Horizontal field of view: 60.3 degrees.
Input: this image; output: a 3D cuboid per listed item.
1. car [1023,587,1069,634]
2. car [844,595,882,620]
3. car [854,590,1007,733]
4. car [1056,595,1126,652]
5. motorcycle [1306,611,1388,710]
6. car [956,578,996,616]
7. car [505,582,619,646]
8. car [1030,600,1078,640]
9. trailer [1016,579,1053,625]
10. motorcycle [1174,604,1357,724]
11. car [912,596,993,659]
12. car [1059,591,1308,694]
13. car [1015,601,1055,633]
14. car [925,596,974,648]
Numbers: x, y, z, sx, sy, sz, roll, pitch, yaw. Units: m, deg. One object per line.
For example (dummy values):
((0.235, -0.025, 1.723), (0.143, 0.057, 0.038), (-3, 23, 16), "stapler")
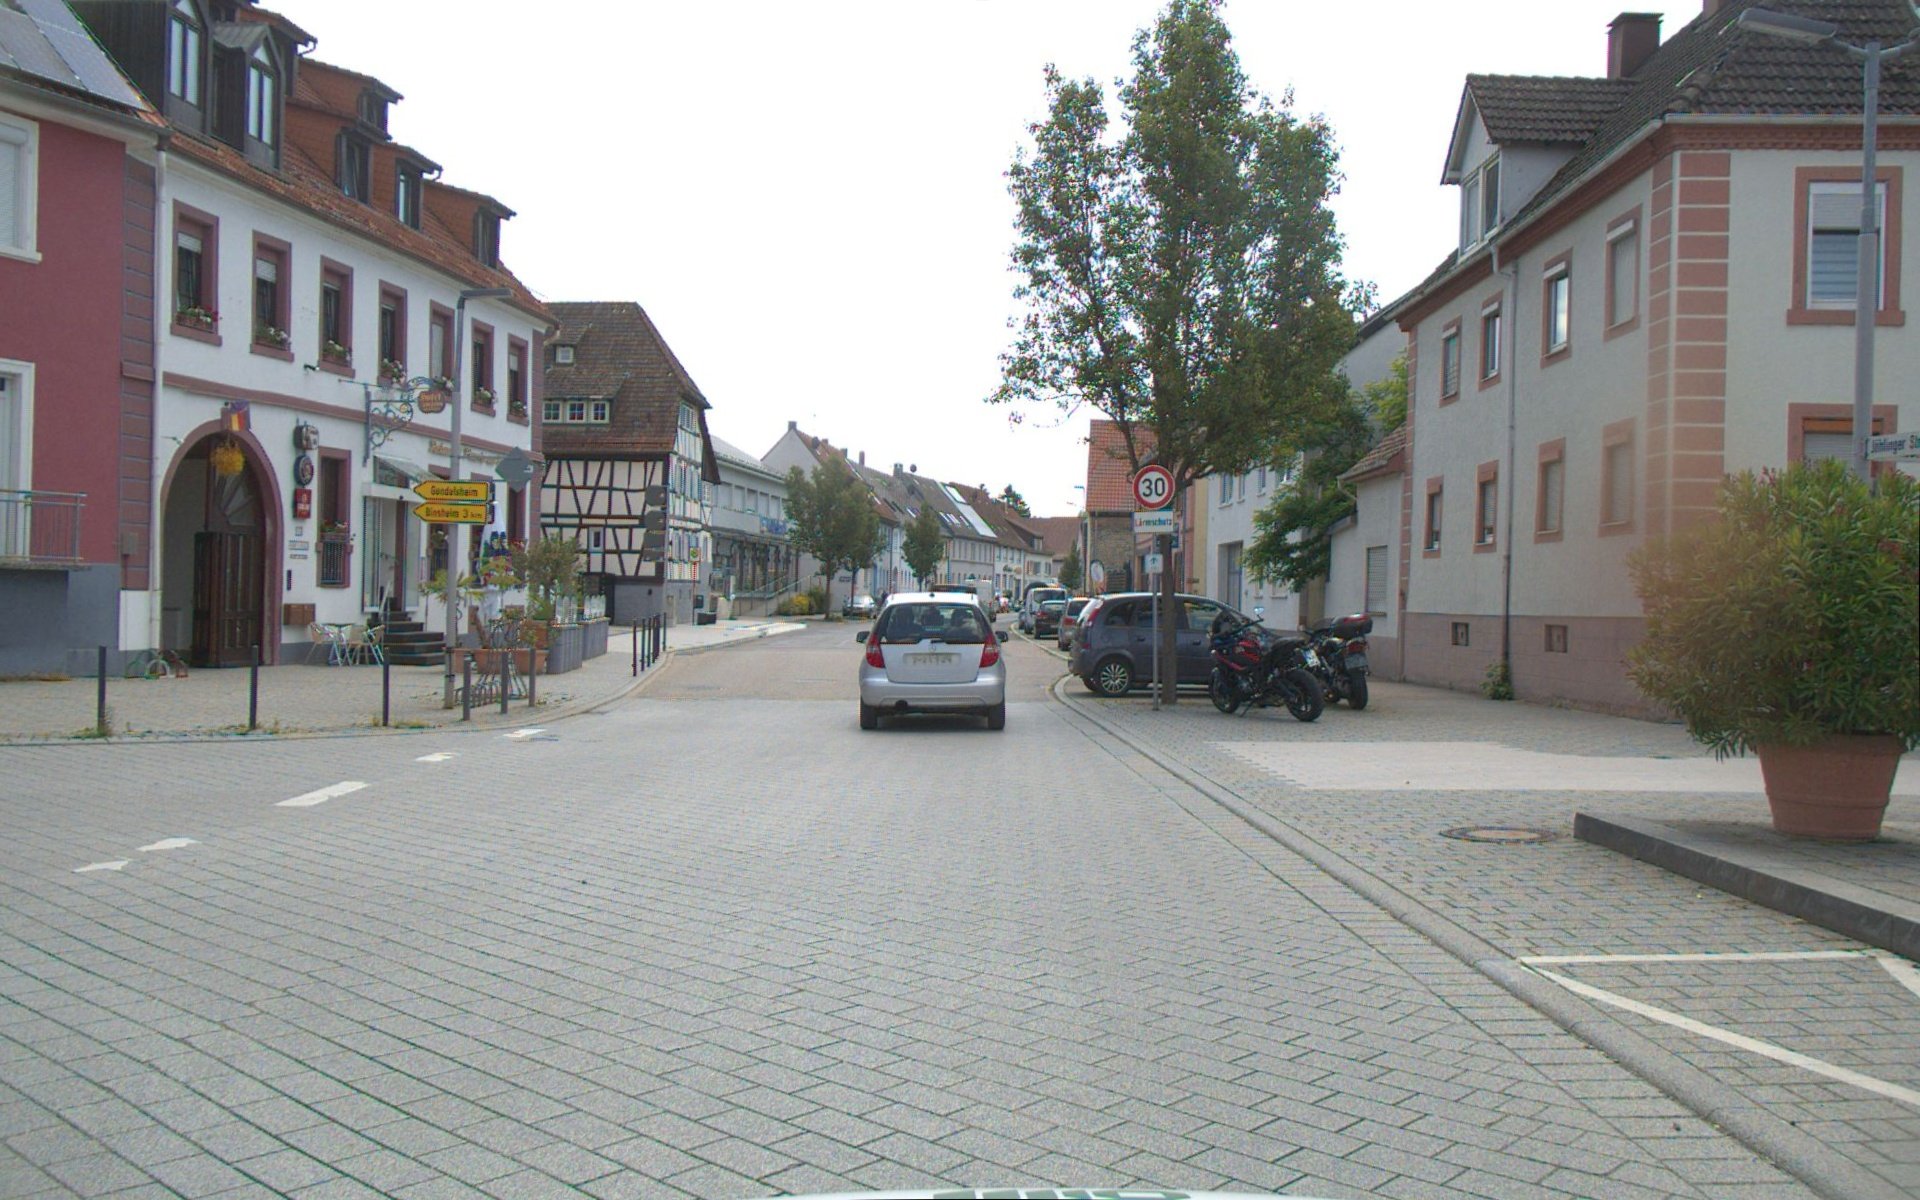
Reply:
((3.848, 0.439, 74.510), (1.853, 2.017, 4.931), (-1, 0, 1), "car")
((-5.922, 0.447, 101.157), (1.766, 1.486, 4.160), (2, 0, 4), "car")
((-0.381, 0.712, 20.828), (1.733, 1.622, 3.999), (0, 0, -1), "car")
((4.163, 0.717, 53.180), (1.952, 1.710, 4.323), (1, 0, 1), "car")
((5.472, 0.831, 23.521), (0.939, 1.321, 2.227), (-1, 0, 8), "motorcycle")
((1.031, -0.167, 102.466), (2.189, 2.261, 4.002), (0, -1, 5), "car")
((-10.714, 0.363, 44.786), (1.722, 1.518, 4.277), (5, 0, 3), "car")
((3.735, 0.765, 66.345), (1.738, 1.521, 4.162), (1, 0, 1), "car")
((4.007, 0.101, 89.213), (1.807, 2.395, 3.589), (1, 0, 0), "trailer")
((3.879, 0.786, 21.140), (2.187, 1.419, 0.867), (1, 0, 44), "motorcycle")
((-0.179, 0.657, 41.724), (1.905, 1.432, 4.000), (1, 0, 0), "car")
((3.586, 0.666, 27.000), (3.771, 1.605, 1.849), (0, 0, -3), "car")
((3.765, 0.830, 84.018), (1.837, 1.507, 4.675), (2, 0, 1), "car")
((-0.388, 0.888, 67.287), (1.732, 1.920, 4.448), (4, 0, 2), "car")
